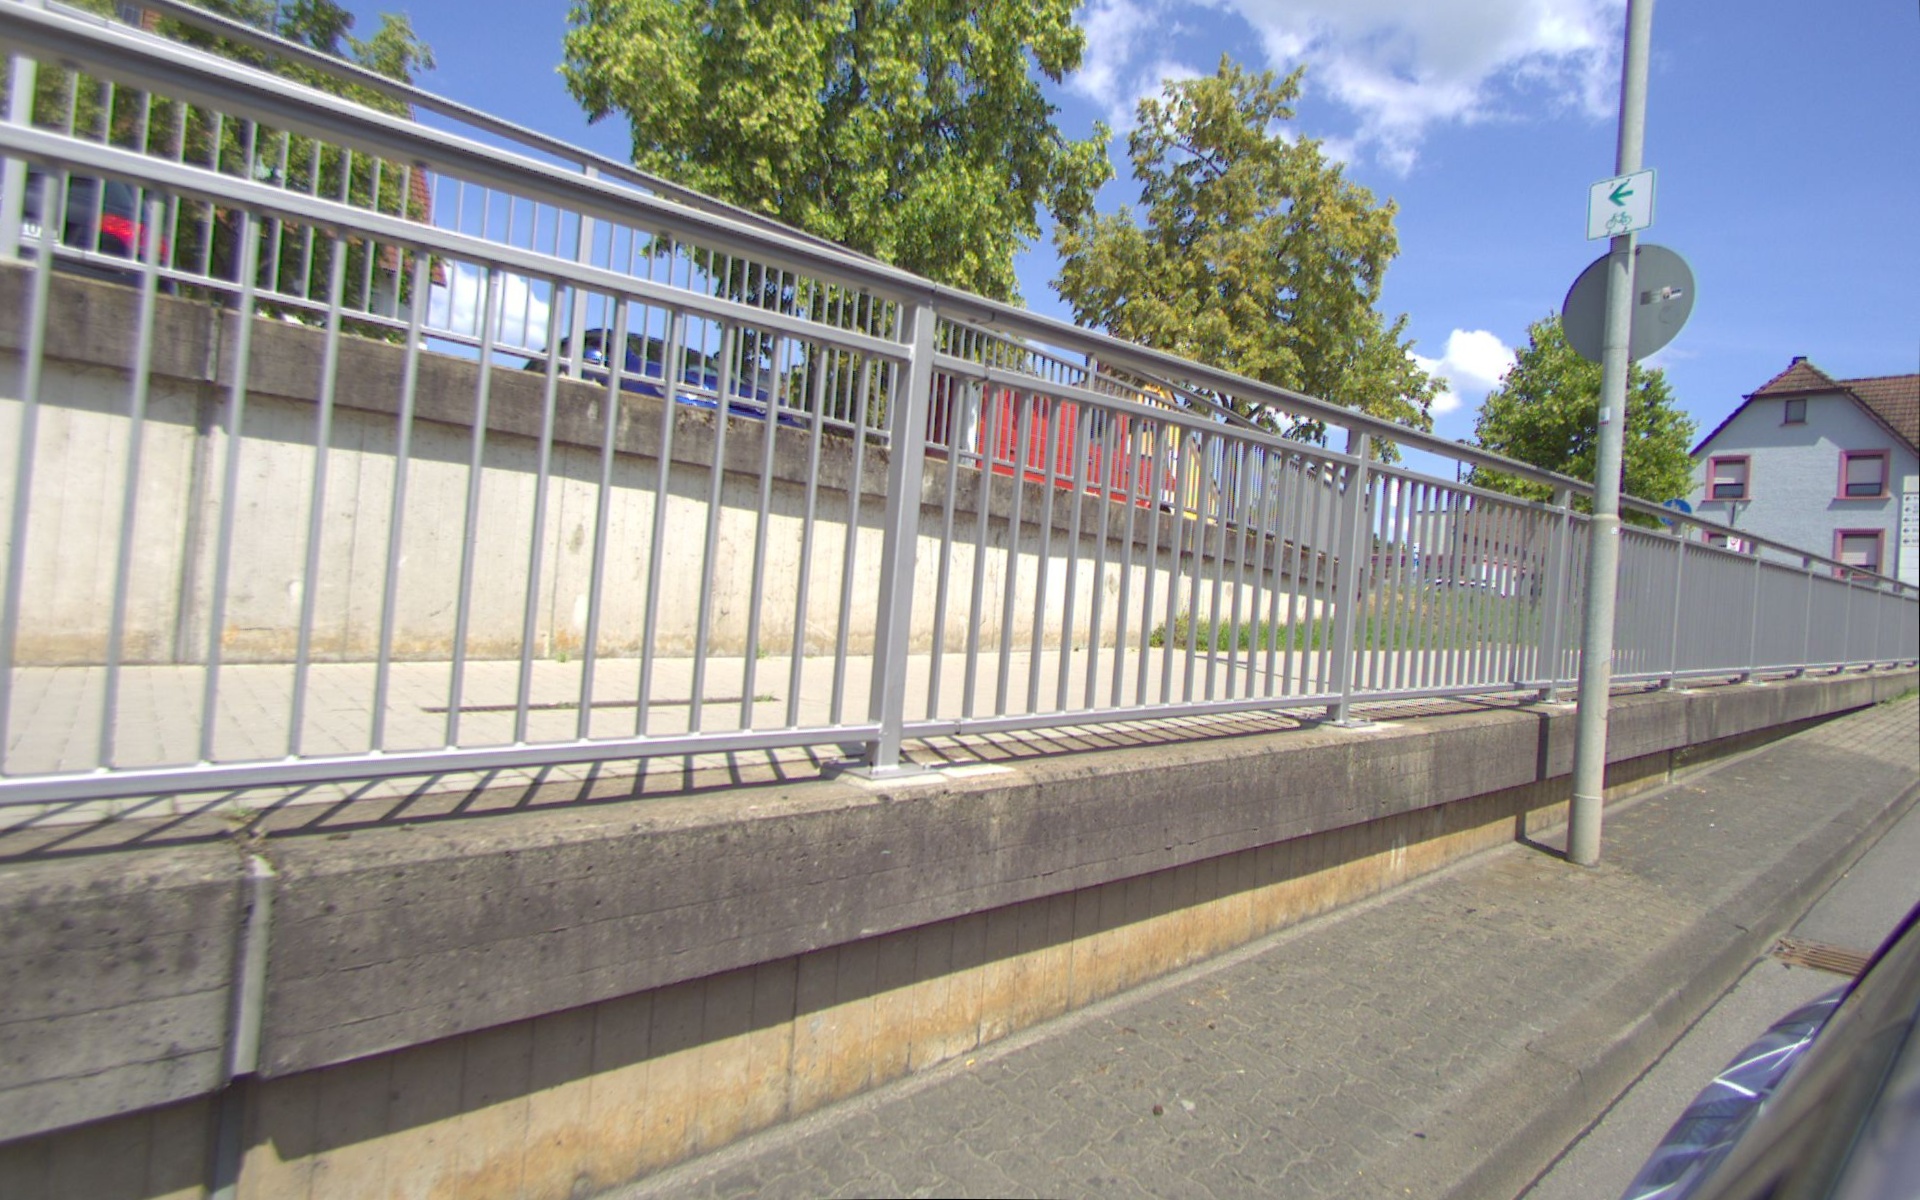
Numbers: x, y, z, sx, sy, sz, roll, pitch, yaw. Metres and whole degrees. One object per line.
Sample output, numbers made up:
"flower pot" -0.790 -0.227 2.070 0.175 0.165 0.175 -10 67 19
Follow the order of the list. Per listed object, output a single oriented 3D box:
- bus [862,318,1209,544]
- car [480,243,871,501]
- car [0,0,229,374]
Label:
"bus" 1.337 -2.366 15.763 5.269 2.396 2.193 5 -1 -42
"car" -2.914 -1.981 9.941 3.983 1.650 1.835 0 0 41
"car" -6.204 -2.581 6.896 1.741 1.323 3.997 1 2 -39
